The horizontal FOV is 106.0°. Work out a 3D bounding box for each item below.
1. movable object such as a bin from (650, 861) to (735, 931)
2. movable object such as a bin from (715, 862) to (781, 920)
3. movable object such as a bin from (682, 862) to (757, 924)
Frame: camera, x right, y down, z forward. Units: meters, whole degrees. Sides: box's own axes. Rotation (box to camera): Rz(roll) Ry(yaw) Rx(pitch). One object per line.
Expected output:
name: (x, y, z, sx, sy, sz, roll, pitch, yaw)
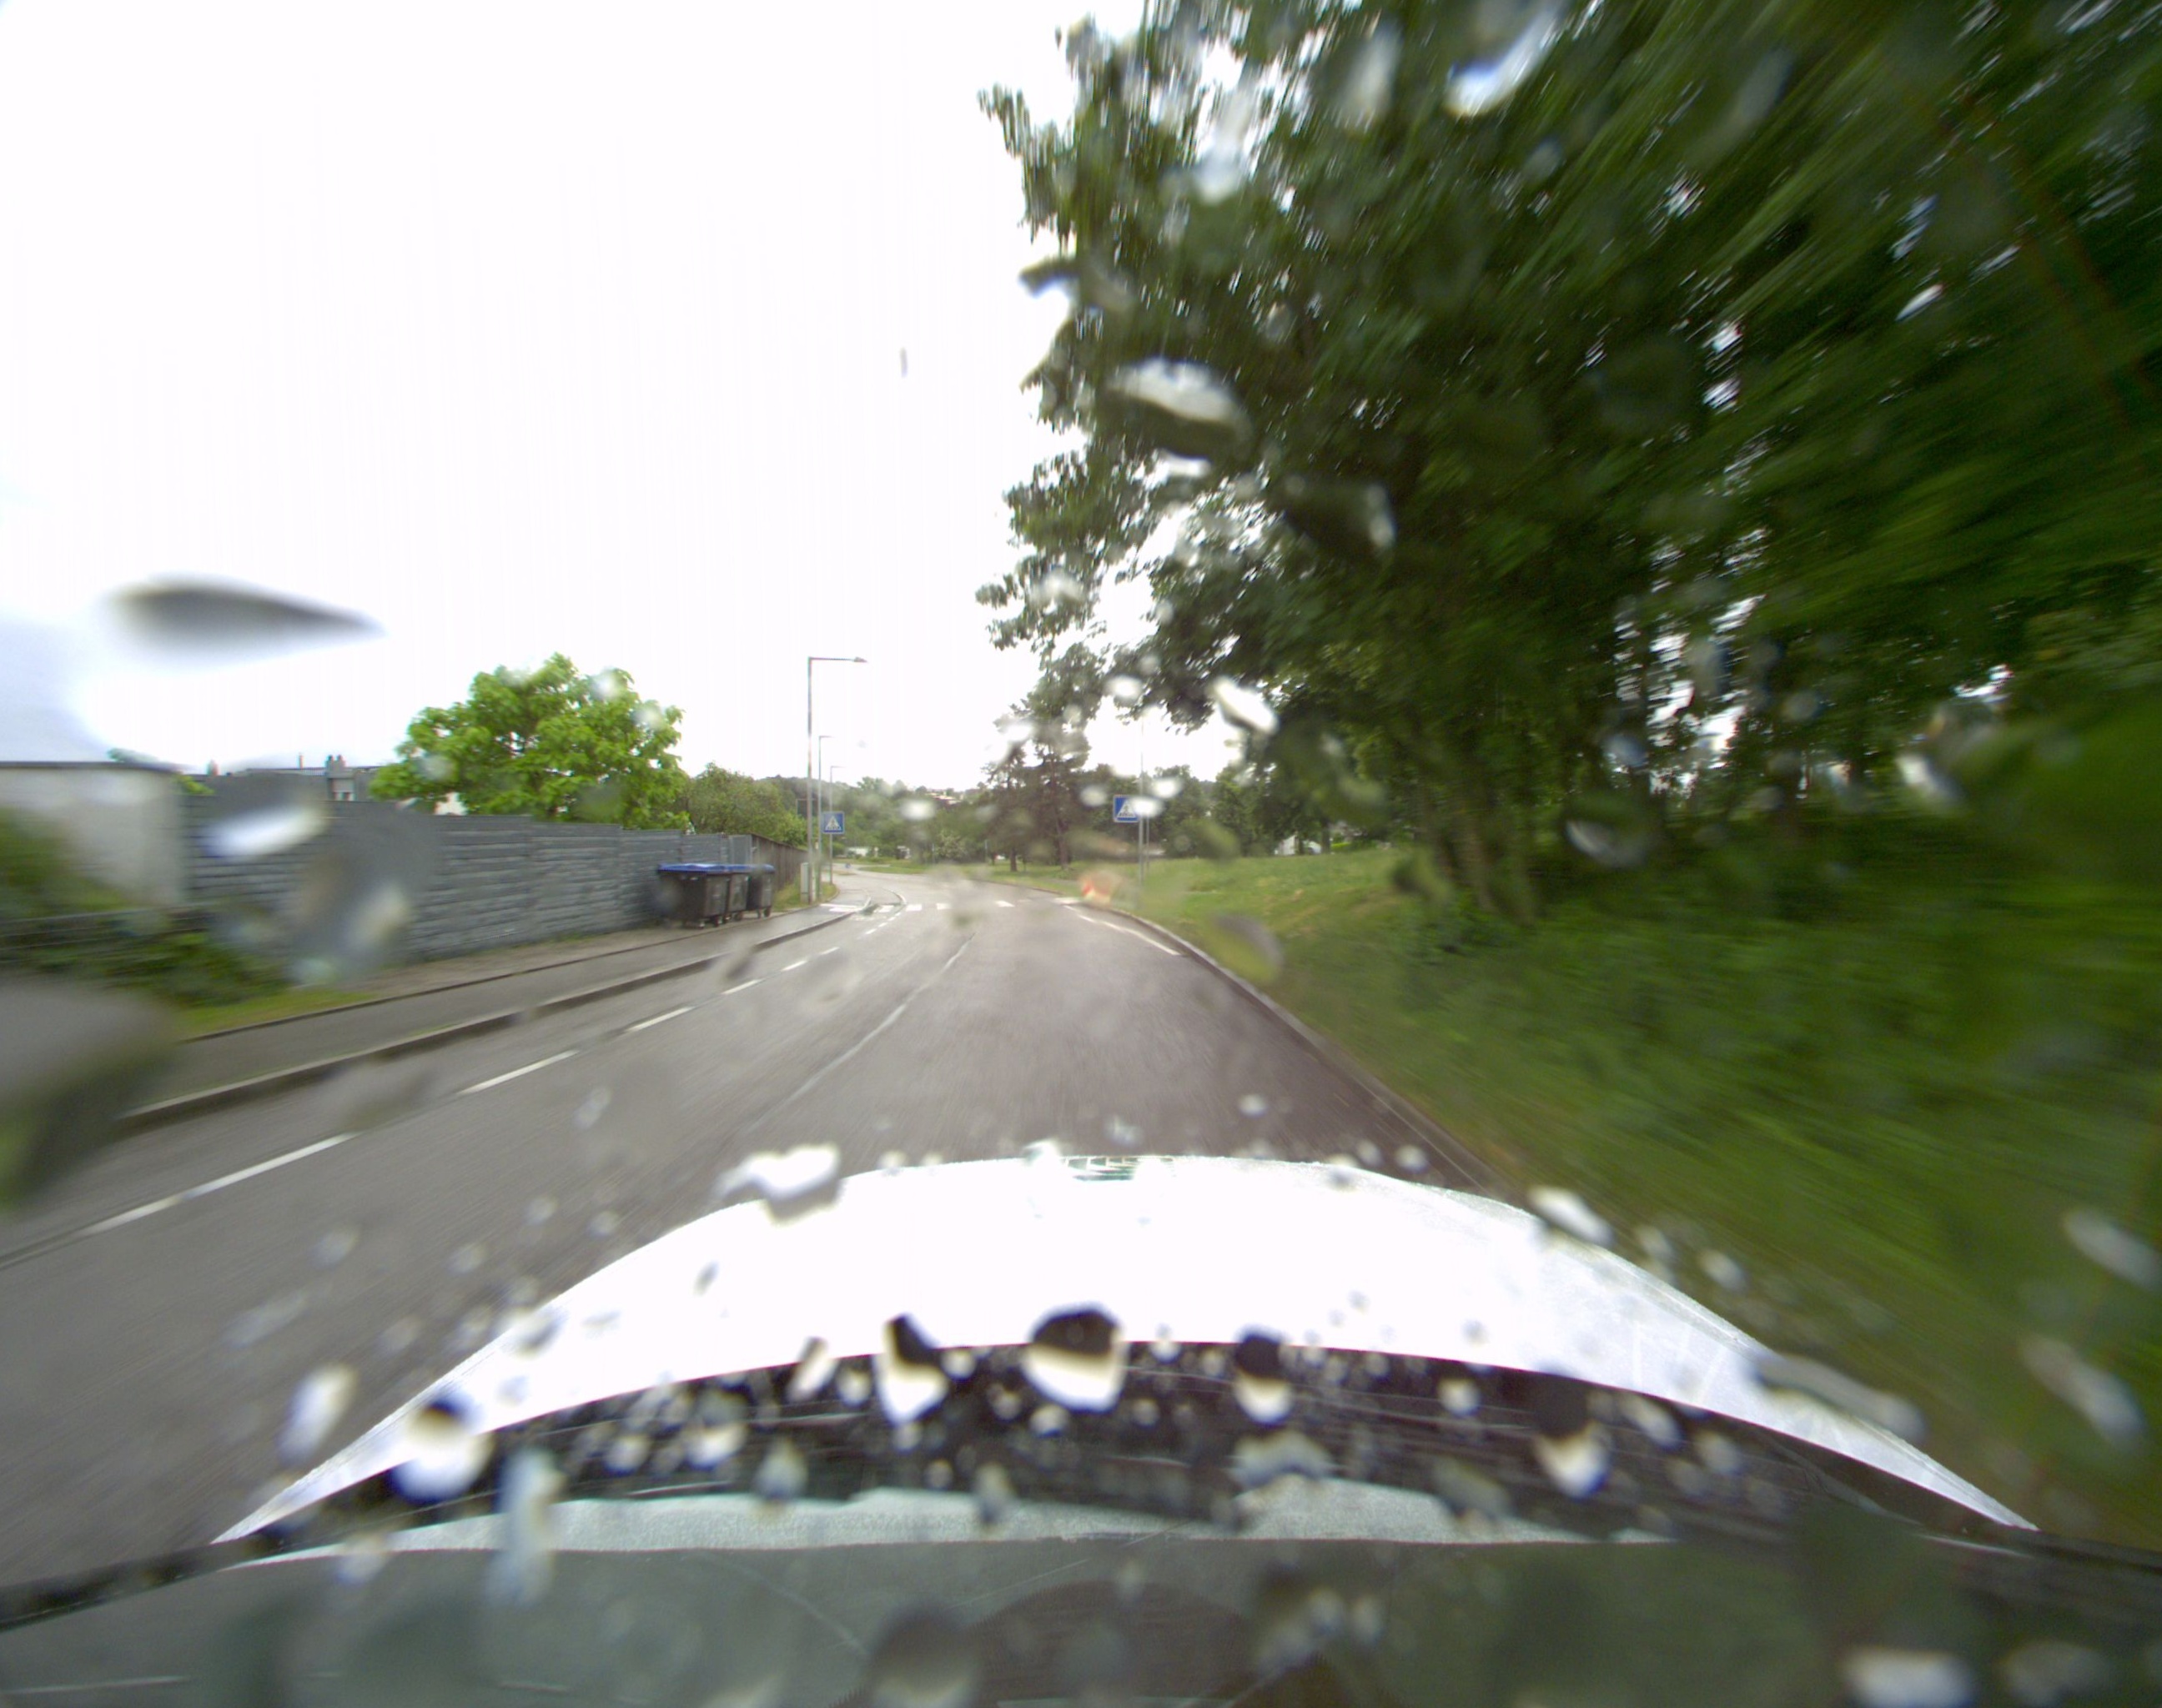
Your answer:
movable object such as a bin: (-8.022, 0.852, 16.896, 1.130, 1.339, 1.395, 2, 0, -6)
movable object such as a bin: (-8.227, 0.901, 20.197, 1.130, 1.322, 1.359, 3, 0, -7)
movable object such as a bin: (-8.188, 0.866, 18.546, 1.130, 1.301, 1.395, 2, 0, -6)
